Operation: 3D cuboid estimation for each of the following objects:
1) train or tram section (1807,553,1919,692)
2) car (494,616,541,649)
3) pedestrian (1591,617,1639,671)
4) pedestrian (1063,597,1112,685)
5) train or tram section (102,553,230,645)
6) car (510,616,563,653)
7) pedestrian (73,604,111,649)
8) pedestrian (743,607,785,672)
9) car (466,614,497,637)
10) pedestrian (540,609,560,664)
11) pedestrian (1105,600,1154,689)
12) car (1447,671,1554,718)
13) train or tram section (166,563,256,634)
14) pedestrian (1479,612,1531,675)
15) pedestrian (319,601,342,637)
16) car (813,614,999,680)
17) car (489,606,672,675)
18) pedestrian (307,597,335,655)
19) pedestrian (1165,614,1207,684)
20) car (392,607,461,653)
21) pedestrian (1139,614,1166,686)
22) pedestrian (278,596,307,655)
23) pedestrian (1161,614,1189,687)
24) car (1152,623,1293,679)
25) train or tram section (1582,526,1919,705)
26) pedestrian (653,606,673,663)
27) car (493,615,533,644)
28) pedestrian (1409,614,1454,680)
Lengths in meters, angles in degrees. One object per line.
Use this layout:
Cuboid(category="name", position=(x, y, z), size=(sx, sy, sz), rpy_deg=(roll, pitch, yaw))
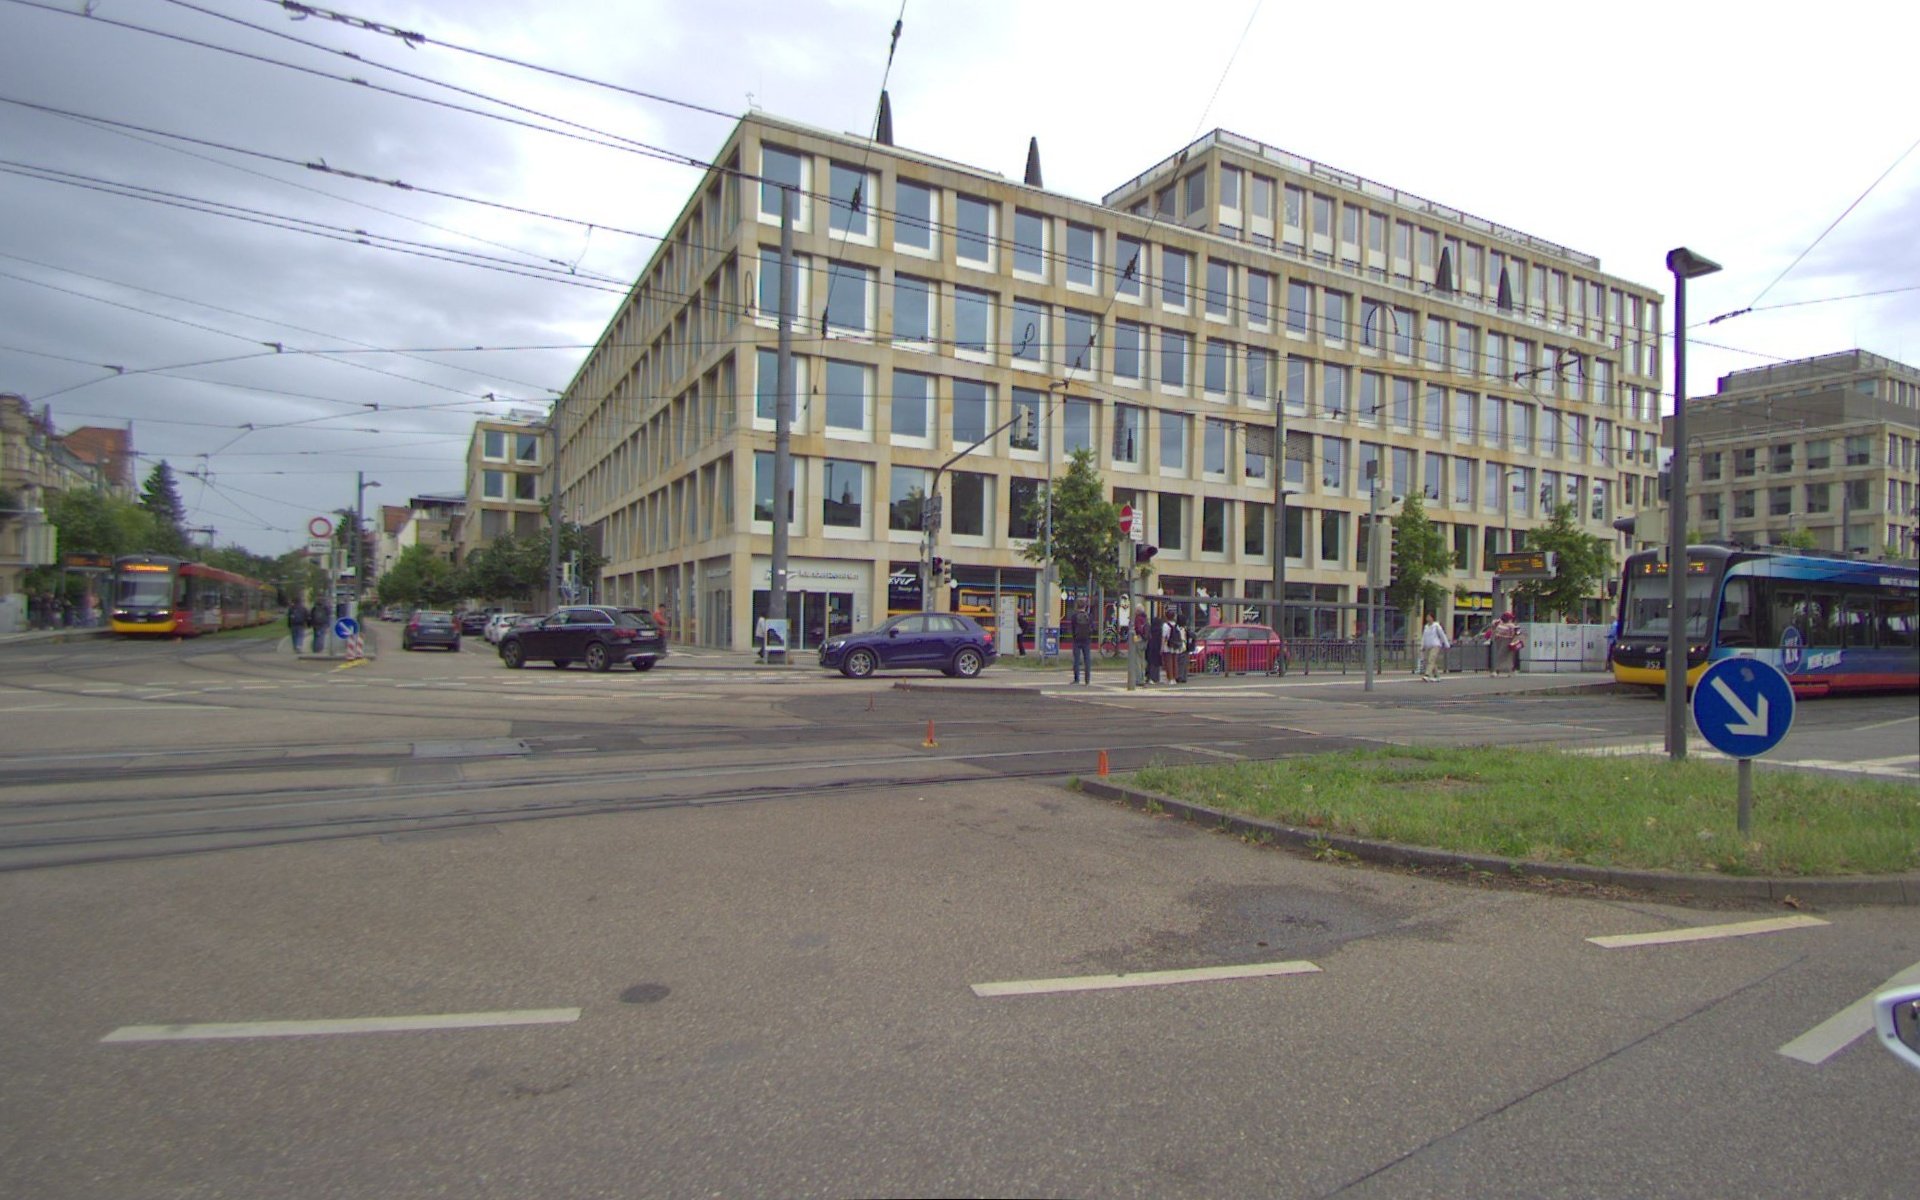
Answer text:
Cuboid(category="train or tram section", position=(30.197, 0.838, 30.533), size=(11.557, 3.688, 2.843), rpy_deg=(2, -2, -29))
Cuboid(category="car", position=(-20.509, 1.475, 46.510), size=(1.773, 1.439, 3.677), rpy_deg=(2, -1, -27))
Cuboid(category="pedestrian", position=(19.966, 1.349, 30.620), size=(0.896, 1.606, 0.845), rpy_deg=(2, -2, -15))
Cuboid(category="pedestrian", position=(2.829, 0.904, 22.235), size=(0.839, 1.892, 0.747), rpy_deg=(1, -2, 27))
Cuboid(category="train or tram section", position=(-36.029, 0.094, 46.096), size=(2.574, 3.560, 14.001), rpy_deg=(2, -2, -30))
Cuboid(category="car", position=(-17.764, 1.418, 42.082), size=(1.773, 1.439, 3.677), rpy_deg=(2, -1, -27))
Cuboid(category="pedestrian", position=(-40.204, 1.216, 46.545), size=(1.111, 2.040, 1.060), rpy_deg=(2, -2, -33))
Cuboid(category="pedestrian", position=(-6.273, 1.266, 32.126), size=(0.986, 2.040, 1.038), rpy_deg=(2, -2, -30))
Cuboid(category="car", position=(-31.263, 1.664, 65.621), size=(1.700, 1.439, 3.272), rpy_deg=(2, -1, -27))
Cuboid(category="pedestrian", position=(-13.679, 1.208, 33.527), size=(0.457, 1.817, 0.411), rpy_deg=(3, -2, -39))
Cuboid(category="pedestrian", position=(3.689, 0.959, 21.846), size=(0.839, 1.892, 0.747), rpy_deg=(1, -2, 27))
Cuboid(category="car", position=(19.375, 3.335, 35.981), size=(3.725, 1.468, 1.730), rpy_deg=(2, -1, -30))
Cuboid(category="train or tram section", position=(-43.112, 0.040, 58.230), size=(2.574, 3.560, 14.001), rpy_deg=(2, -2, -30))
Cuboid(category="pedestrian", position=(14.419, 1.149, 26.603), size=(0.838, 1.606, 0.903), rpy_deg=(2, -2, -30))
Cuboid(category="pedestrian", position=(-36.289, 1.107, 57.913), size=(1.058, 2.040, 1.114), rpy_deg=(2, -2, -31))
Cuboid(category="car", position=(-1.345, 1.154, 24.756), size=(4.296, 1.514, 1.738), rpy_deg=(1, -1, -17))
Cuboid(category="car", position=(-9.712, 0.996, 25.767), size=(4.235, 1.620, 1.745), rpy_deg=(1, -1, 19))
Cuboid(category="pedestrian", position=(-20.030, 0.821, 31.503), size=(0.677, 1.777, 0.851), rpy_deg=(2, -2, -33))
Cuboid(category="pedestrian", position=(5.314, 1.143, 23.616), size=(0.706, 1.619, 0.705), rpy_deg=(0, -2, 42))
Cuboid(category="car", position=(-19.821, 1.082, 37.272), size=(1.978, 1.617, 3.965), rpy_deg=(2, -1, -32))
Cuboid(category="pedestrian", position=(4.396, 1.138, 23.007), size=(0.514, 1.619, 0.717), rpy_deg=(1, -1, 6))
Cuboid(category="pedestrian", position=(-20.668, 0.791, 31.096), size=(0.677, 1.777, 0.851), rpy_deg=(2, -2, -33))
Cuboid(category="pedestrian", position=(4.913, 1.143, 22.948), size=(0.514, 1.619, 0.717), rpy_deg=(1, -1, 6))
Cuboid(category="car", position=(7.413, 1.421, 28.293), size=(3.725, 1.468, 1.730), rpy_deg=(2, -1, -30))
Cuboid(category="train or tram section", position=(20.093, 0.568, 24.856), size=(11.627, 3.688, 2.841), rpy_deg=(3, -2, -30))
Cuboid(category="pedestrian", position=(-9.556, 1.107, 32.293), size=(0.457, 1.817, 0.411), rpy_deg=(3, -2, -39))
Cuboid(category="car", position=(-23.221, 1.519, 52.115), size=(1.700, 1.439, 3.272), rpy_deg=(2, -1, -27))
Cuboid(category="pedestrian", position=(11.762, 1.172, 25.071), size=(0.757, 1.606, 0.704), rpy_deg=(2, -2, -30))
